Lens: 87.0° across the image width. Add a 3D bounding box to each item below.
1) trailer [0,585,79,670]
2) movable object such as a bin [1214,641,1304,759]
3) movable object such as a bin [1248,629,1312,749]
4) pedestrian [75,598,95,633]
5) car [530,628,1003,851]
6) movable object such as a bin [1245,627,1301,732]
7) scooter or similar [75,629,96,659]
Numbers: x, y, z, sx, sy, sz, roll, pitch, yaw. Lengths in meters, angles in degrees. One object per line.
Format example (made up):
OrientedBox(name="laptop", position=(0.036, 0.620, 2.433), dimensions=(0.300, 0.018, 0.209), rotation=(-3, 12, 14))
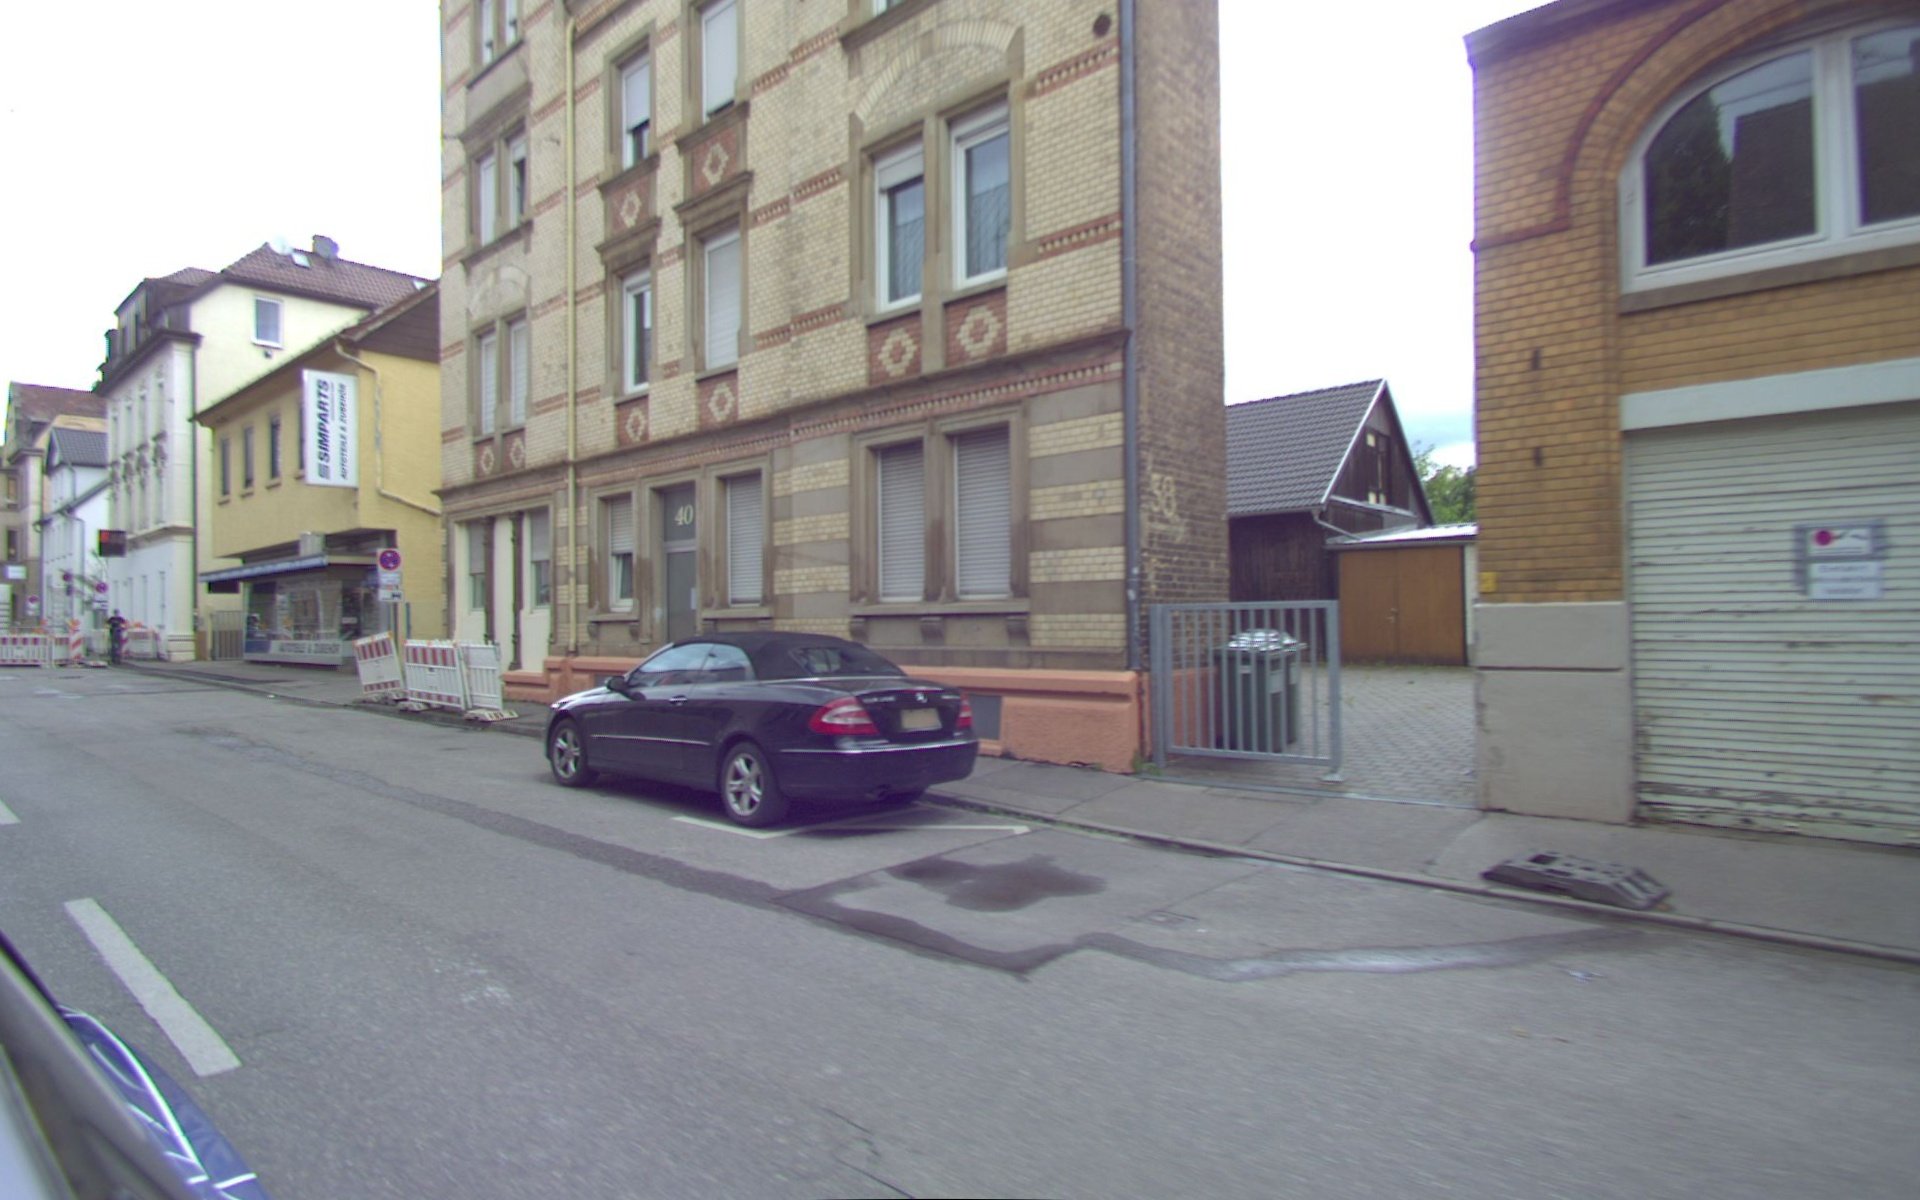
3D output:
OrientedBox(name="trailer", position=(-33.557, 0.982, 36.179), dimensions=(6.303, 2.825, 2.418), rotation=(-1, -3, 43))
OrientedBox(name="movable object such as a bin", position=(2.871, 0.935, 9.715), dimensions=(0.667, 1.057, 0.498), rotation=(-1, 0, 41))
OrientedBox(name="movable object such as a bin", position=(3.189, 0.868, 10.079), dimensions=(0.515, 1.148, 0.508), rotation=(-1, -1, 27))
OrientedBox(name="pedestrian", position=(-39.975, 0.700, 46.231), dimensions=(0.606, 1.578, 0.594), rotation=(-1, 0, 40))
OrientedBox(name="car", position=(-1.811, 0.947, 8.446), dimensions=(4.353, 1.393, 1.562), rotation=(-1, -3, 42))
OrientedBox(name="movable object such as a bin", position=(3.548, 0.885, 11.471), dimensions=(0.515, 1.148, 0.508), rotation=(-1, -1, 27))
OrientedBox(name="scooter or similar", position=(-39.987, 2.003, 46.264), dimensions=(1.227, 1.300, 0.554), rotation=(-1, 0, 41))
